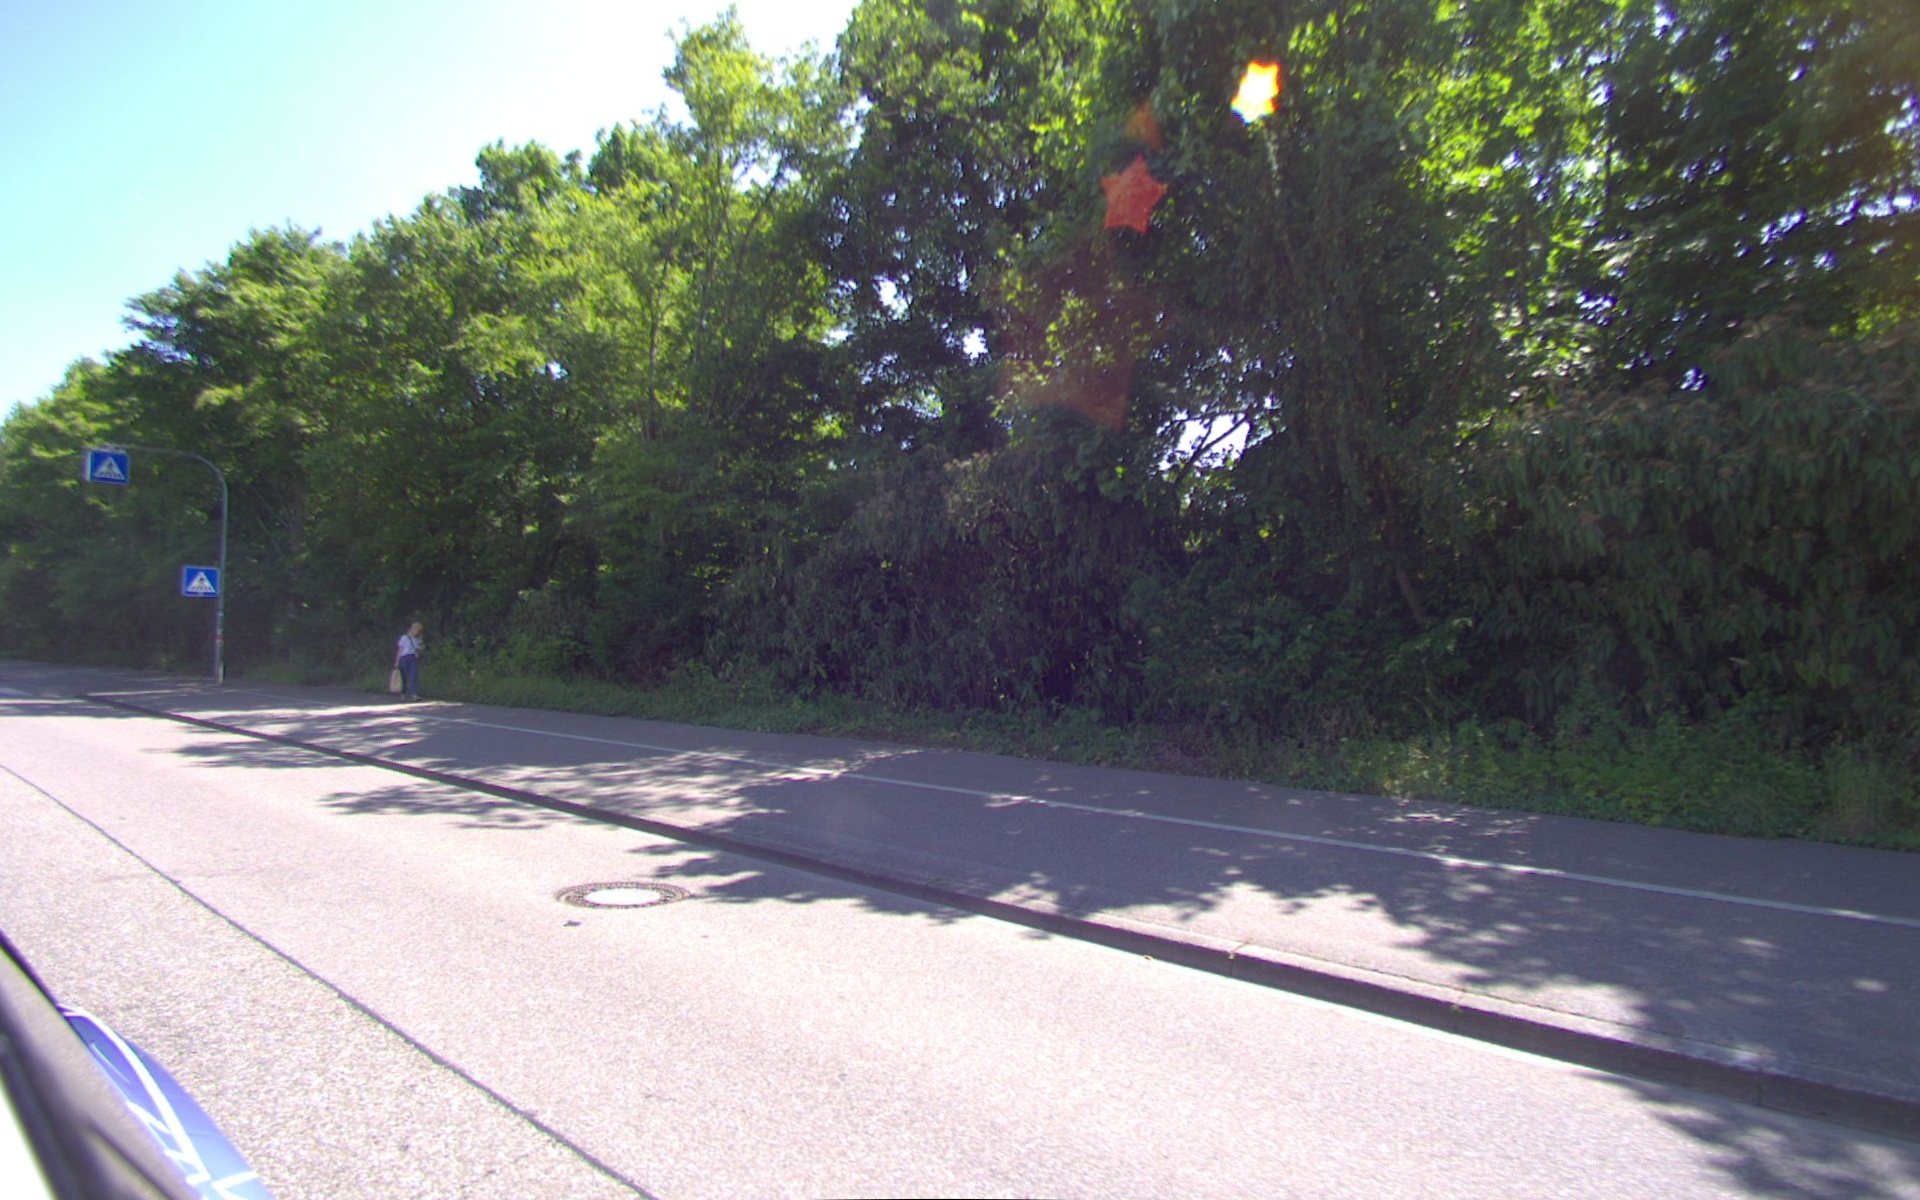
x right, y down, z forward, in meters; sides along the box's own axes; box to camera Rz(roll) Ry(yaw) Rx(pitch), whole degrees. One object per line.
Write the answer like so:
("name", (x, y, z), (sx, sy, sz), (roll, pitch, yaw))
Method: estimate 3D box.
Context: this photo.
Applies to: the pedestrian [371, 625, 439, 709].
("pedestrian", (-11.101, 1.321, 20.249), (0.885, 1.625, 0.923), (-2, -2, 39))
